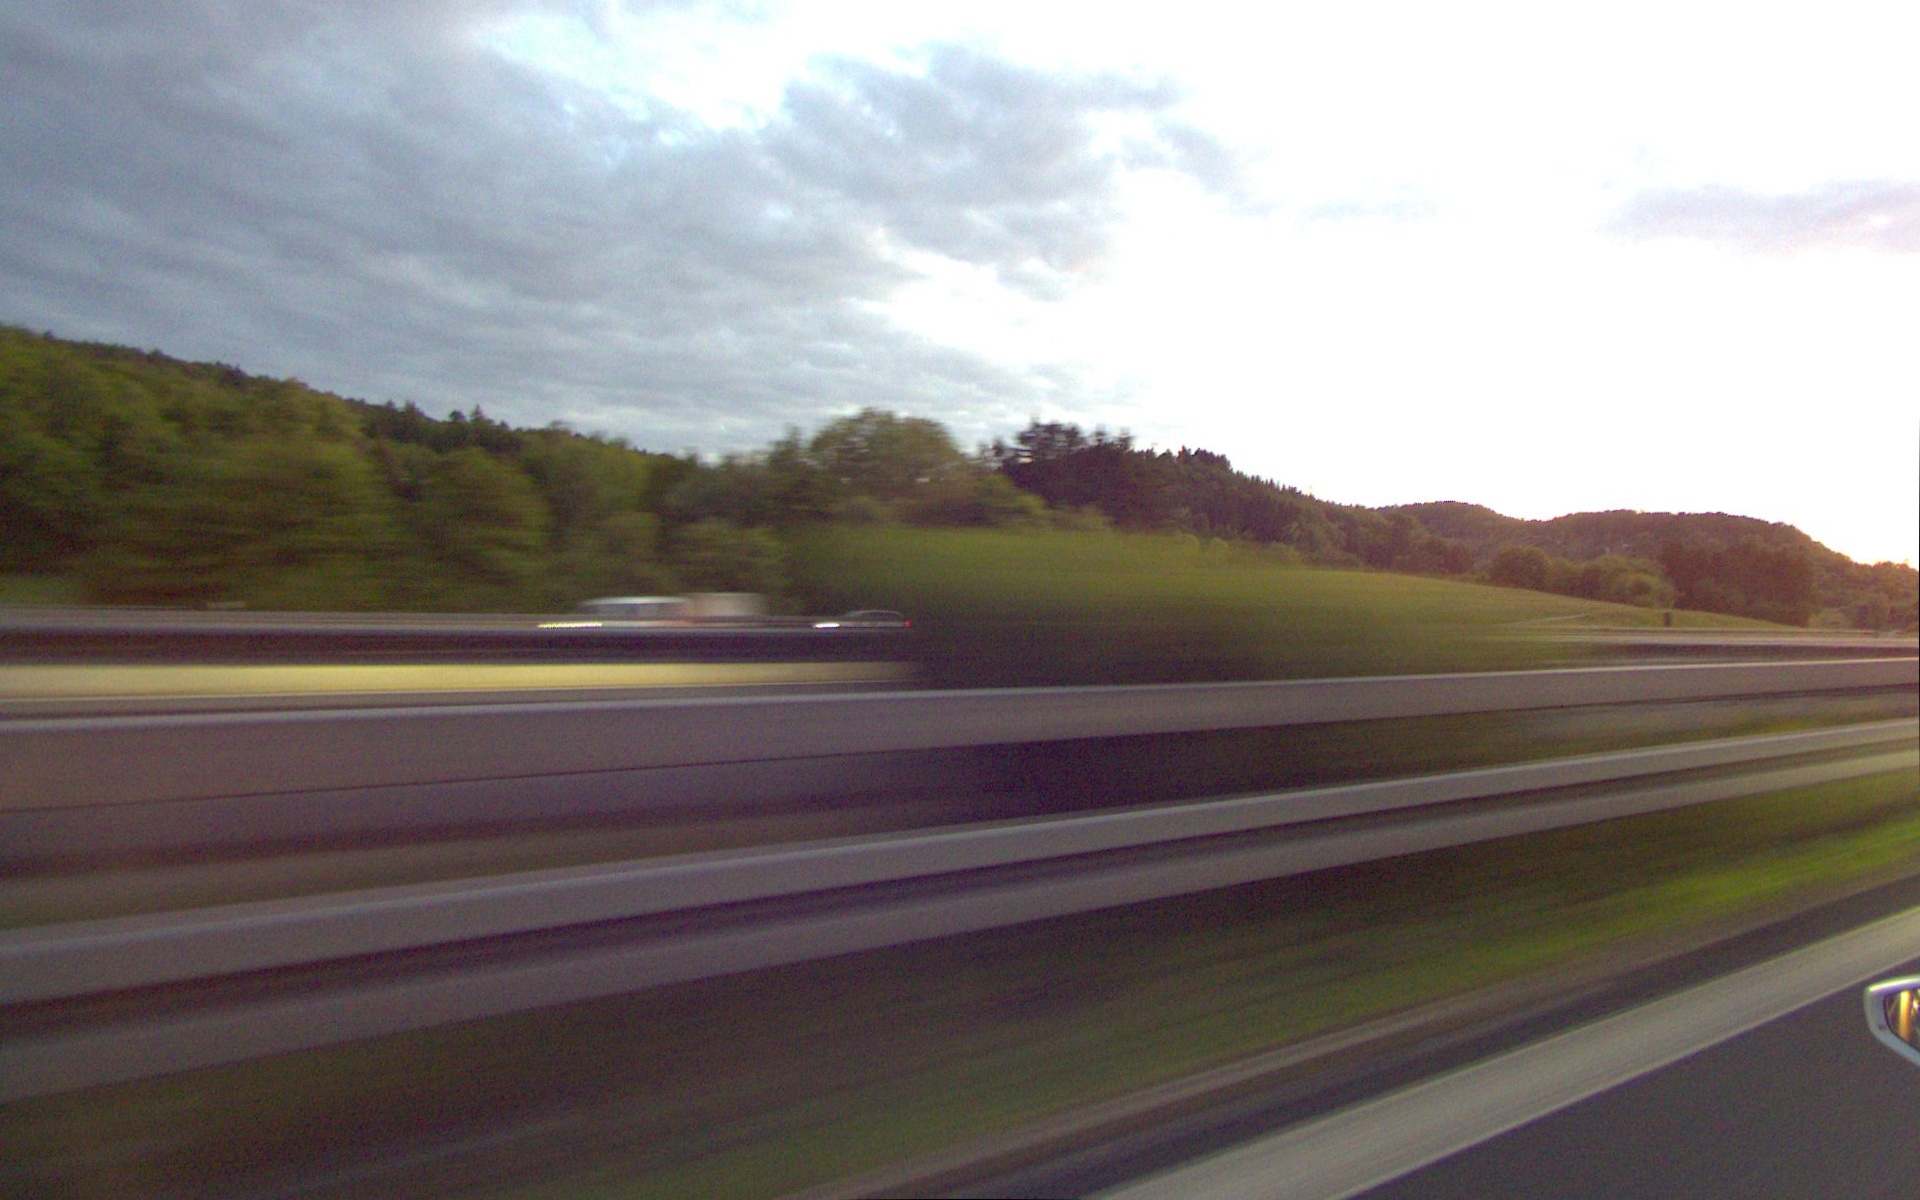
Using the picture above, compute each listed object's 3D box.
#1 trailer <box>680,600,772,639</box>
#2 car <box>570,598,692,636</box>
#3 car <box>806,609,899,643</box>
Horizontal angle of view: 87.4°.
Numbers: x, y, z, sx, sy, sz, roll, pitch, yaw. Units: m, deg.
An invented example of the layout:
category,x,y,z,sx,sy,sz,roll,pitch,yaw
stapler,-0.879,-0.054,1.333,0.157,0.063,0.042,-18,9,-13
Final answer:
category,x,y,z,sx,sy,sz,roll,pitch,yaw
trailer,-10.047,0.839,43.252,3.561,1.617,1.526,2,-1,-33
car,-13.421,0.721,41.017,4.419,1.462,1.826,2,-1,-33
car,-5.339,1.323,50.096,4.260,1.617,1.757,2,-1,-31
